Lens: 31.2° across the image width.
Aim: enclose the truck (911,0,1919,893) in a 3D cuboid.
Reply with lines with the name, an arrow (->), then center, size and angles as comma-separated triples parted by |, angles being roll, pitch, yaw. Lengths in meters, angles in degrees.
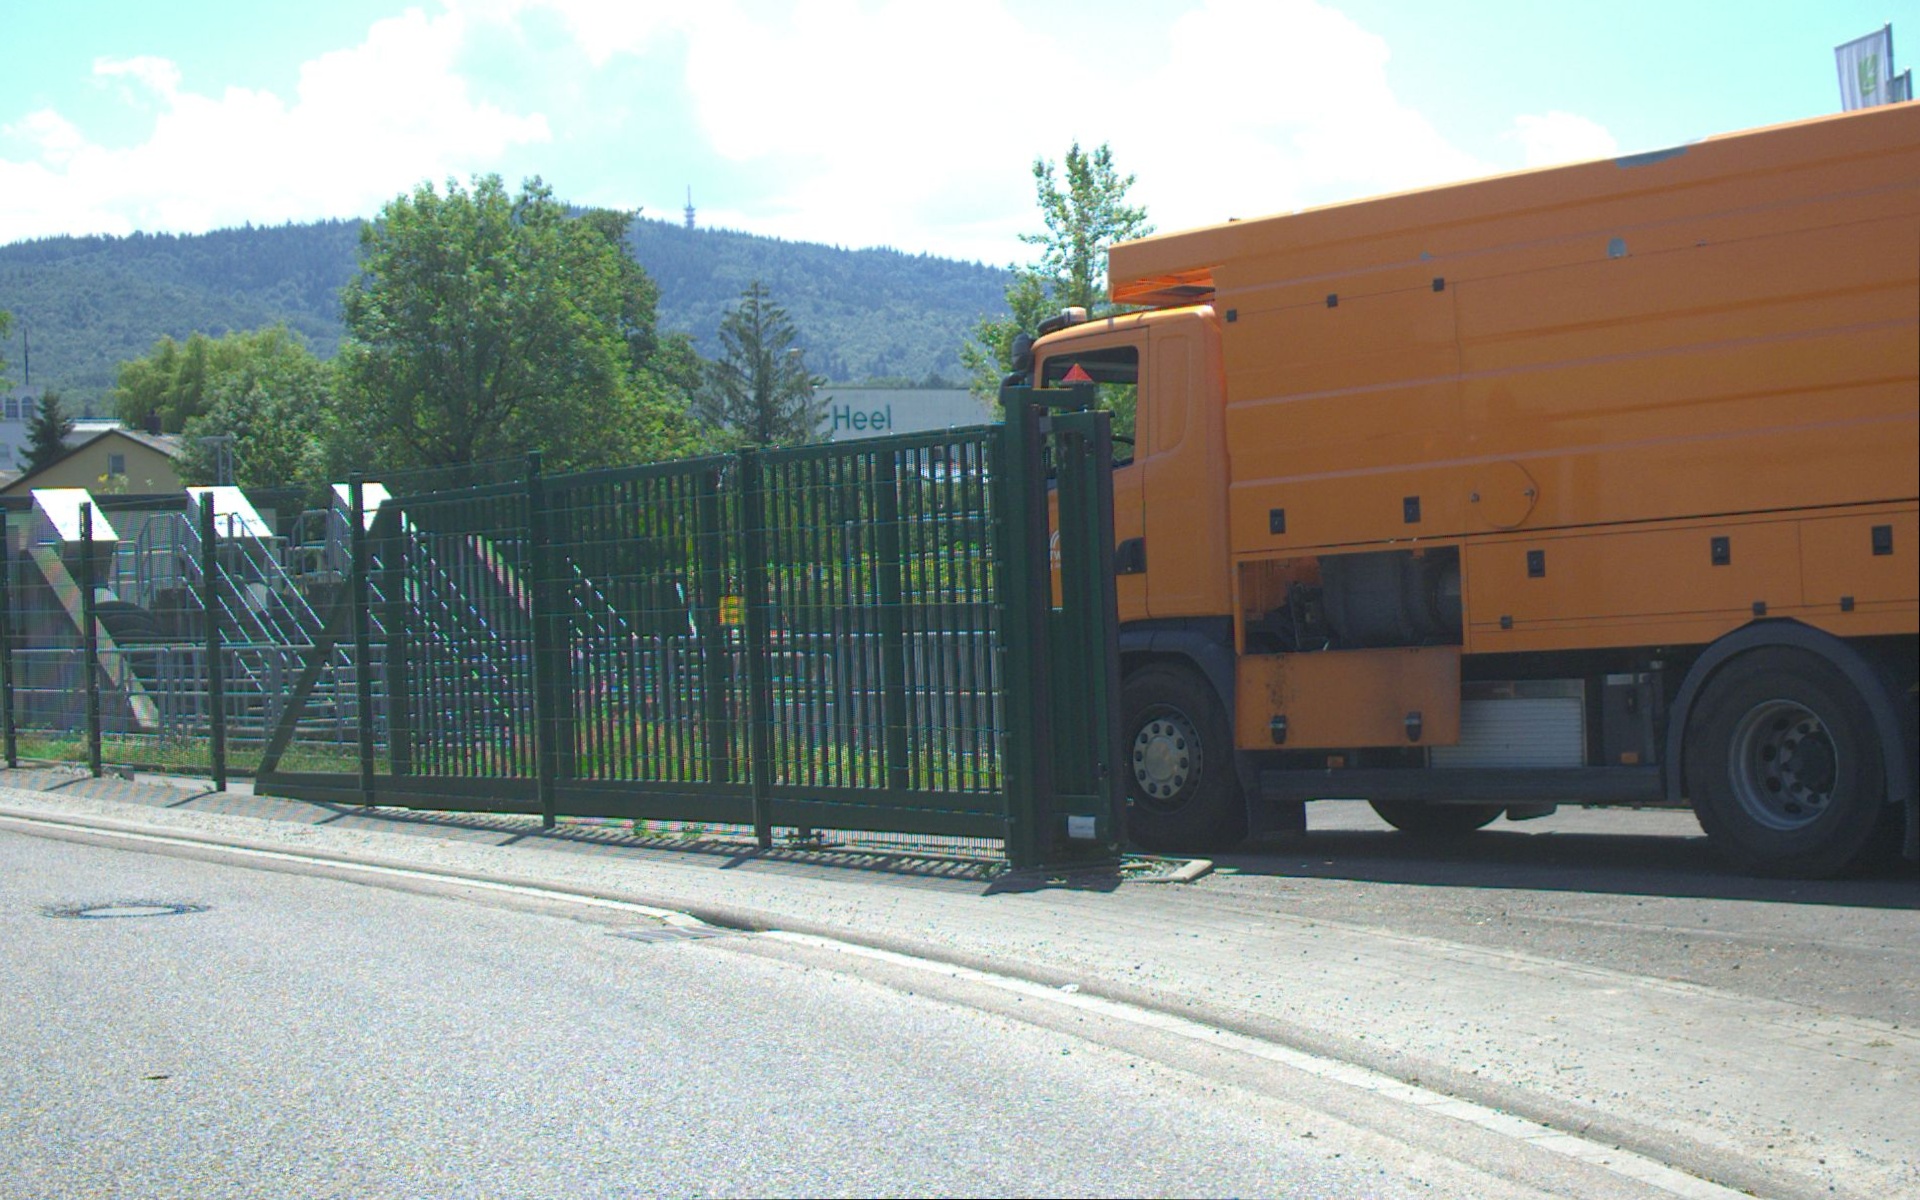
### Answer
truck -> 4.201, -0.673, 17.558 | 4.153, 3.793, 8.607 | -3, 0, -41
